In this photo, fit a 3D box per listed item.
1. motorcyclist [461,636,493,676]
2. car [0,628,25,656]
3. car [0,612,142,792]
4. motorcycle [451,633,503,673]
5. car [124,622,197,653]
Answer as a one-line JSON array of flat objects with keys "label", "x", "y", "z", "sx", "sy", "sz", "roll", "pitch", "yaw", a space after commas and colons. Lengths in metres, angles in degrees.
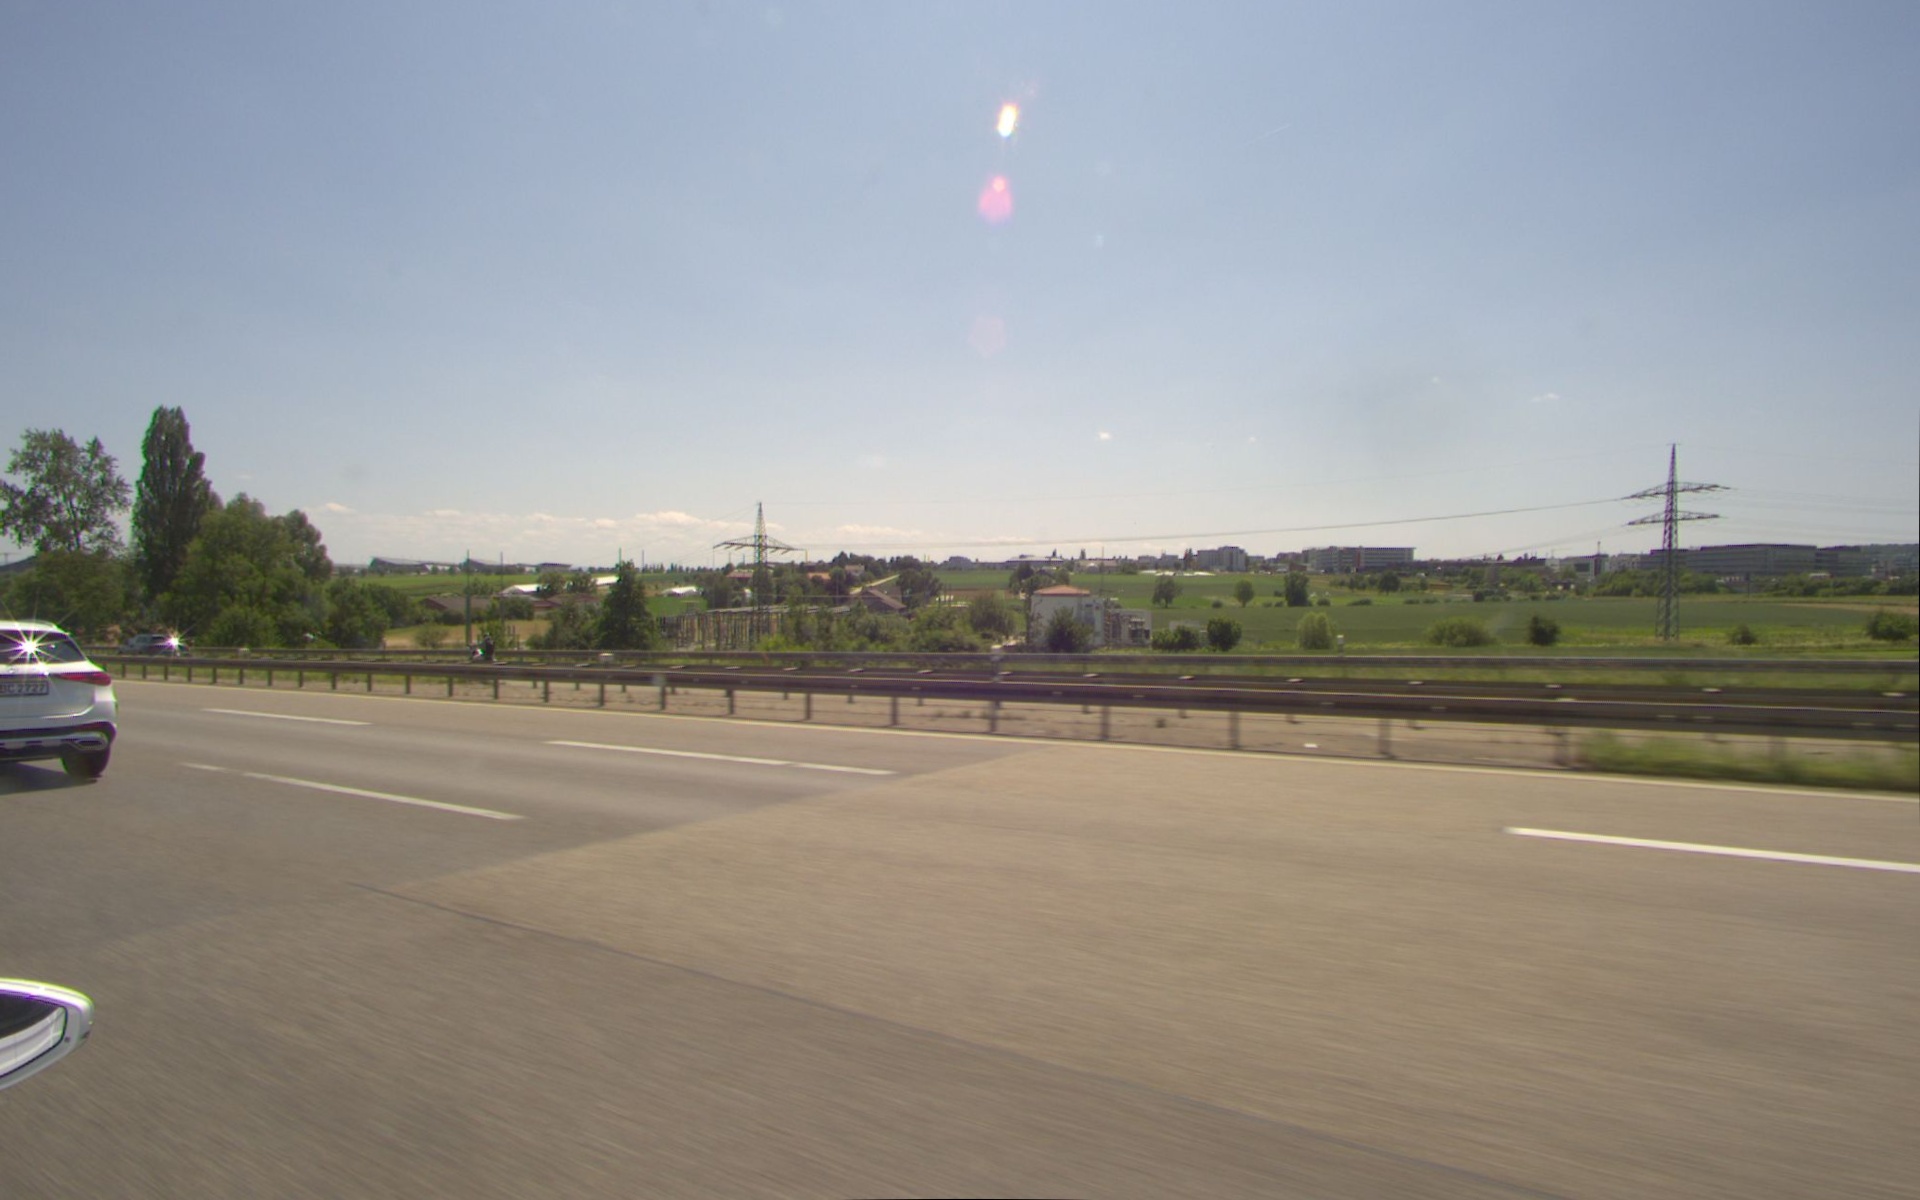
[{"label": "motorcyclist", "x": -17.126, "y": 1.970, "z": 35.484, "sx": 0.866, "sy": 1.384, "sz": 0.667, "roll": -1, "pitch": -1, "yaw": 32}, {"label": "car", "x": -70.702, "y": 3.081, "z": 73.678, "sx": 4.123, "sy": 1.948, "sz": 1.934, "roll": -1, "pitch": -2, "yaw": 35}, {"label": "car", "x": -10.932, "y": 0.998, "z": 10.717, "sx": 4.927, "sy": 1.668, "sz": 1.895, "roll": -1, "pitch": -2, "yaw": 32}, {"label": "motorcycle", "x": -17.103, "y": 1.858, "z": 35.443, "sx": 1.842, "sy": 1.384, "sz": 0.759, "roll": -1, "pitch": -2, "yaw": 31}, {"label": "car", "x": -42.207, "y": 1.980, "z": 52.847, "sx": 4.068, "sy": 1.595, "sz": 1.697, "roll": -1, "pitch": -2, "yaw": 31}]
